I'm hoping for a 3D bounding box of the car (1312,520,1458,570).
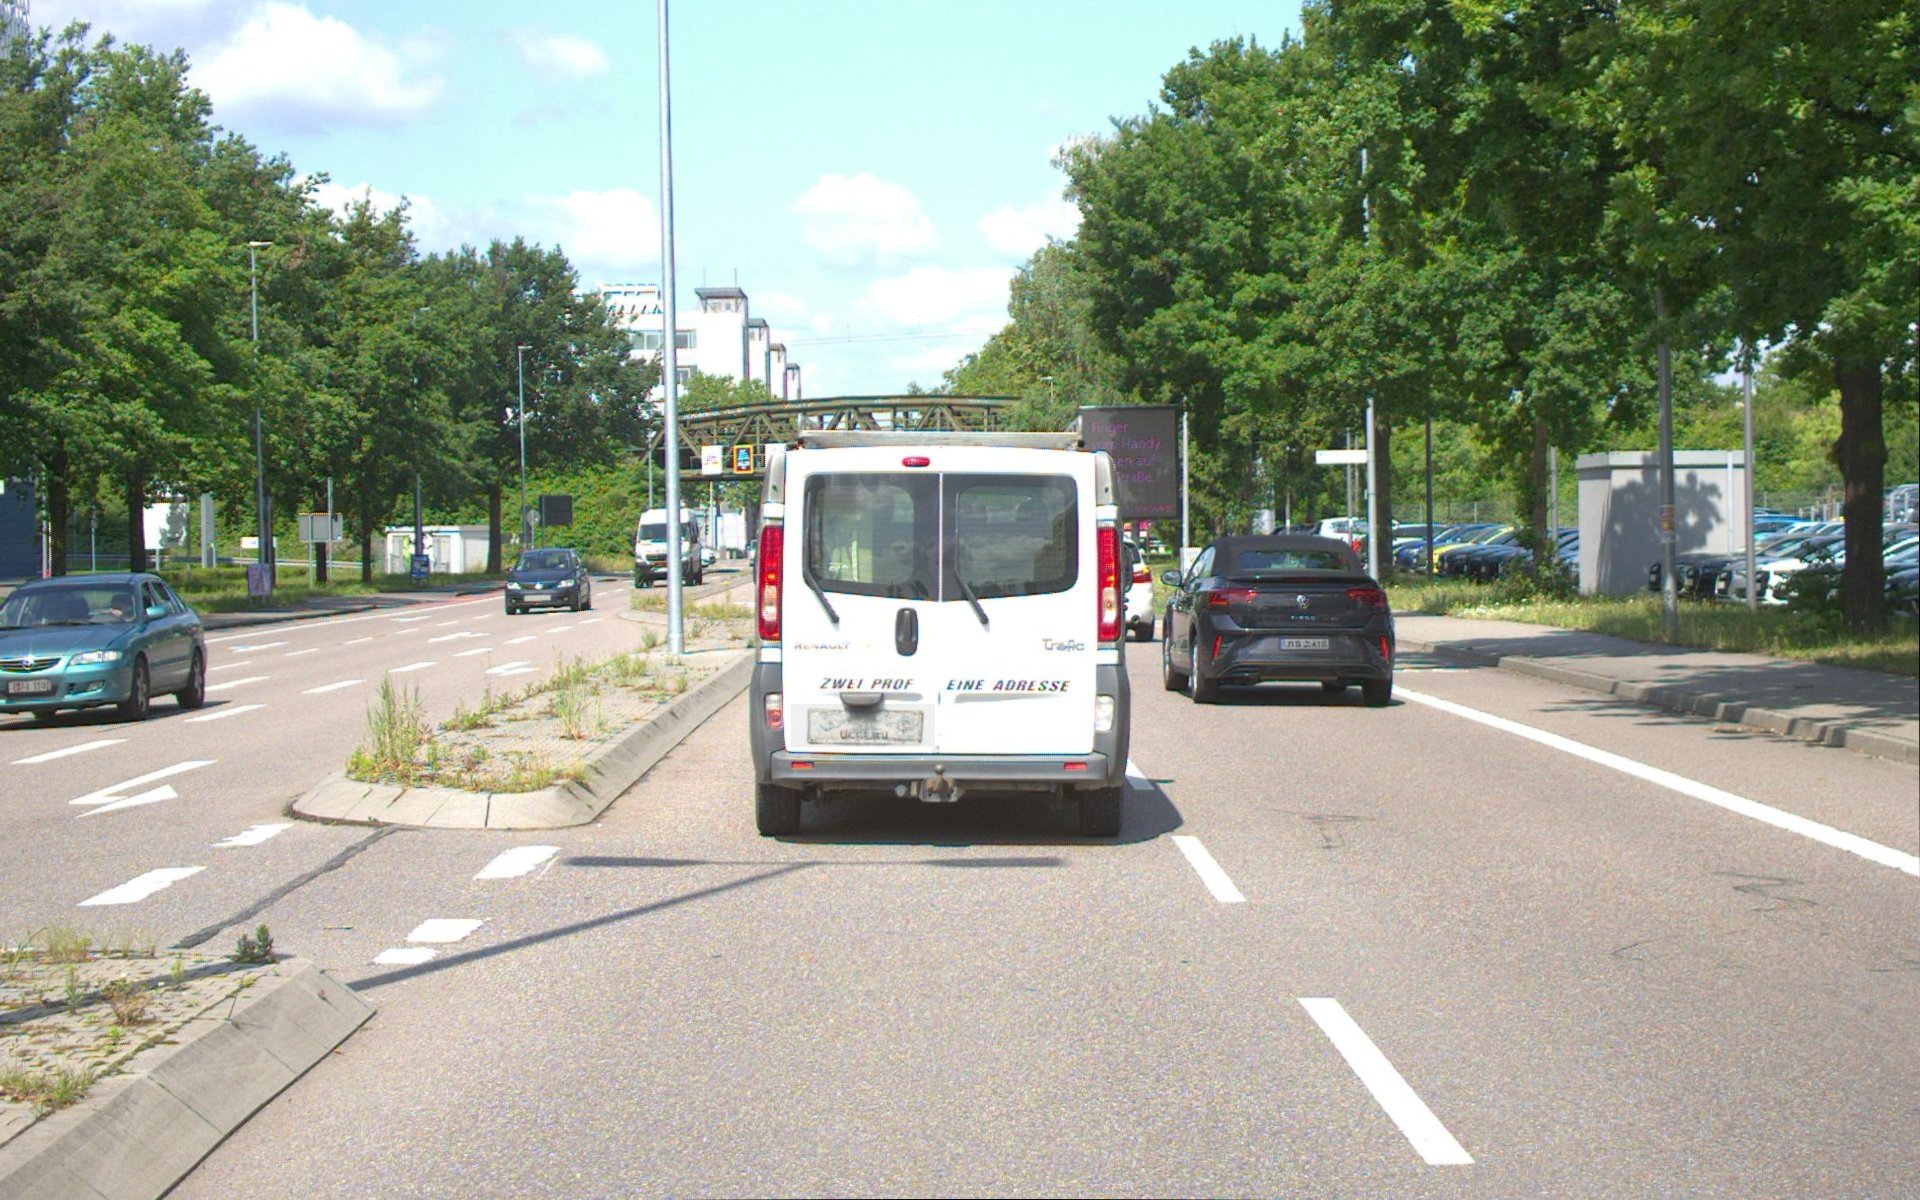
[{"bbox_3d":[13.522,-1.768,109.525,4.354,1.507,1.936,0,3,-2],"label":"car"}]

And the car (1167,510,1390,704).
[{"bbox_3d":[2.885,0.011,31.828,1.774,1.623,4.000,0,2,1],"label":"car"}]

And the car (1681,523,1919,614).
[{"bbox_3d":[13.834,-0.524,55.213,4.107,1.399,1.818,-1,1,-1],"label":"car"}]

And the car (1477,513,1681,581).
[{"bbox_3d":[14.374,-1.241,79.990,4.354,1.507,1.936,0,3,-2],"label":"car"}]

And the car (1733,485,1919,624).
[{"bbox_3d":[14.277,-0.704,52.290,4.574,2.042,1.907,0,3,-1],"label":"car"}]

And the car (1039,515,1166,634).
[{"bbox_3d":[2.061,-0.407,50.662,1.774,1.623,4.000,0,2,1],"label":"car"}]

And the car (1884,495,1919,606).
[{"bbox_3d":[14.591,-0.642,44.786,4.574,1.400,1.907,0,3,-1],"label":"car"}]

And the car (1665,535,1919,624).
[{"bbox_3d":[14.126,-0.350,57.906,4.107,1.440,1.855,0,1,0],"label":"car"}]

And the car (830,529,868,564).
[{"bbox_3d":[-6.190,-3.005,192.303,1.993,1.765,4.001,0,3,0],"label":"car"}]

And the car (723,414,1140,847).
[{"bbox_3d":[-0.098,0.058,18.604,1.973,2.052,4.565,0,2,1],"label":"car"}]

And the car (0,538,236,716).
[{"bbox_3d":[-8.463,0.214,33.688,1.773,1.543,4.821,-3,1,-2],"label":"car"}]

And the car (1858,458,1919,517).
[{"bbox_3d":[29.875,-3.433,105.107,4.355,1.768,1.936,0,3,3],"label":"car"}]

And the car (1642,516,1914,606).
[{"bbox_3d":[14.392,-0.685,60.633,4.355,1.507,1.855,-1,1,0],"label":"car"}]

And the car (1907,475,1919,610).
[{"bbox_3d":[14.228,-0.678,42.325,4.574,1.672,1.907,0,3,-1],"label":"car"}]

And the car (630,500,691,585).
[{"bbox_3d":[-10.562,-2.035,121.388,2.022,2.883,6.383,-1,1,-5],"label":"car"}]

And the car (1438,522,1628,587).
[{"bbox_3d":[14.223,-1.139,85.463,4.354,1.507,1.936,0,3,-2],"label":"car"}]

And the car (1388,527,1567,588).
[{"bbox_3d":[13.604,-1.120,90.470,4.354,1.507,1.936,0,3,-2],"label":"car"}]

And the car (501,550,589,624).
[{"bbox_3d":[-10.001,-0.335,83.091,1.738,1.604,4.242,-4,1,-3],"label":"car"}]
